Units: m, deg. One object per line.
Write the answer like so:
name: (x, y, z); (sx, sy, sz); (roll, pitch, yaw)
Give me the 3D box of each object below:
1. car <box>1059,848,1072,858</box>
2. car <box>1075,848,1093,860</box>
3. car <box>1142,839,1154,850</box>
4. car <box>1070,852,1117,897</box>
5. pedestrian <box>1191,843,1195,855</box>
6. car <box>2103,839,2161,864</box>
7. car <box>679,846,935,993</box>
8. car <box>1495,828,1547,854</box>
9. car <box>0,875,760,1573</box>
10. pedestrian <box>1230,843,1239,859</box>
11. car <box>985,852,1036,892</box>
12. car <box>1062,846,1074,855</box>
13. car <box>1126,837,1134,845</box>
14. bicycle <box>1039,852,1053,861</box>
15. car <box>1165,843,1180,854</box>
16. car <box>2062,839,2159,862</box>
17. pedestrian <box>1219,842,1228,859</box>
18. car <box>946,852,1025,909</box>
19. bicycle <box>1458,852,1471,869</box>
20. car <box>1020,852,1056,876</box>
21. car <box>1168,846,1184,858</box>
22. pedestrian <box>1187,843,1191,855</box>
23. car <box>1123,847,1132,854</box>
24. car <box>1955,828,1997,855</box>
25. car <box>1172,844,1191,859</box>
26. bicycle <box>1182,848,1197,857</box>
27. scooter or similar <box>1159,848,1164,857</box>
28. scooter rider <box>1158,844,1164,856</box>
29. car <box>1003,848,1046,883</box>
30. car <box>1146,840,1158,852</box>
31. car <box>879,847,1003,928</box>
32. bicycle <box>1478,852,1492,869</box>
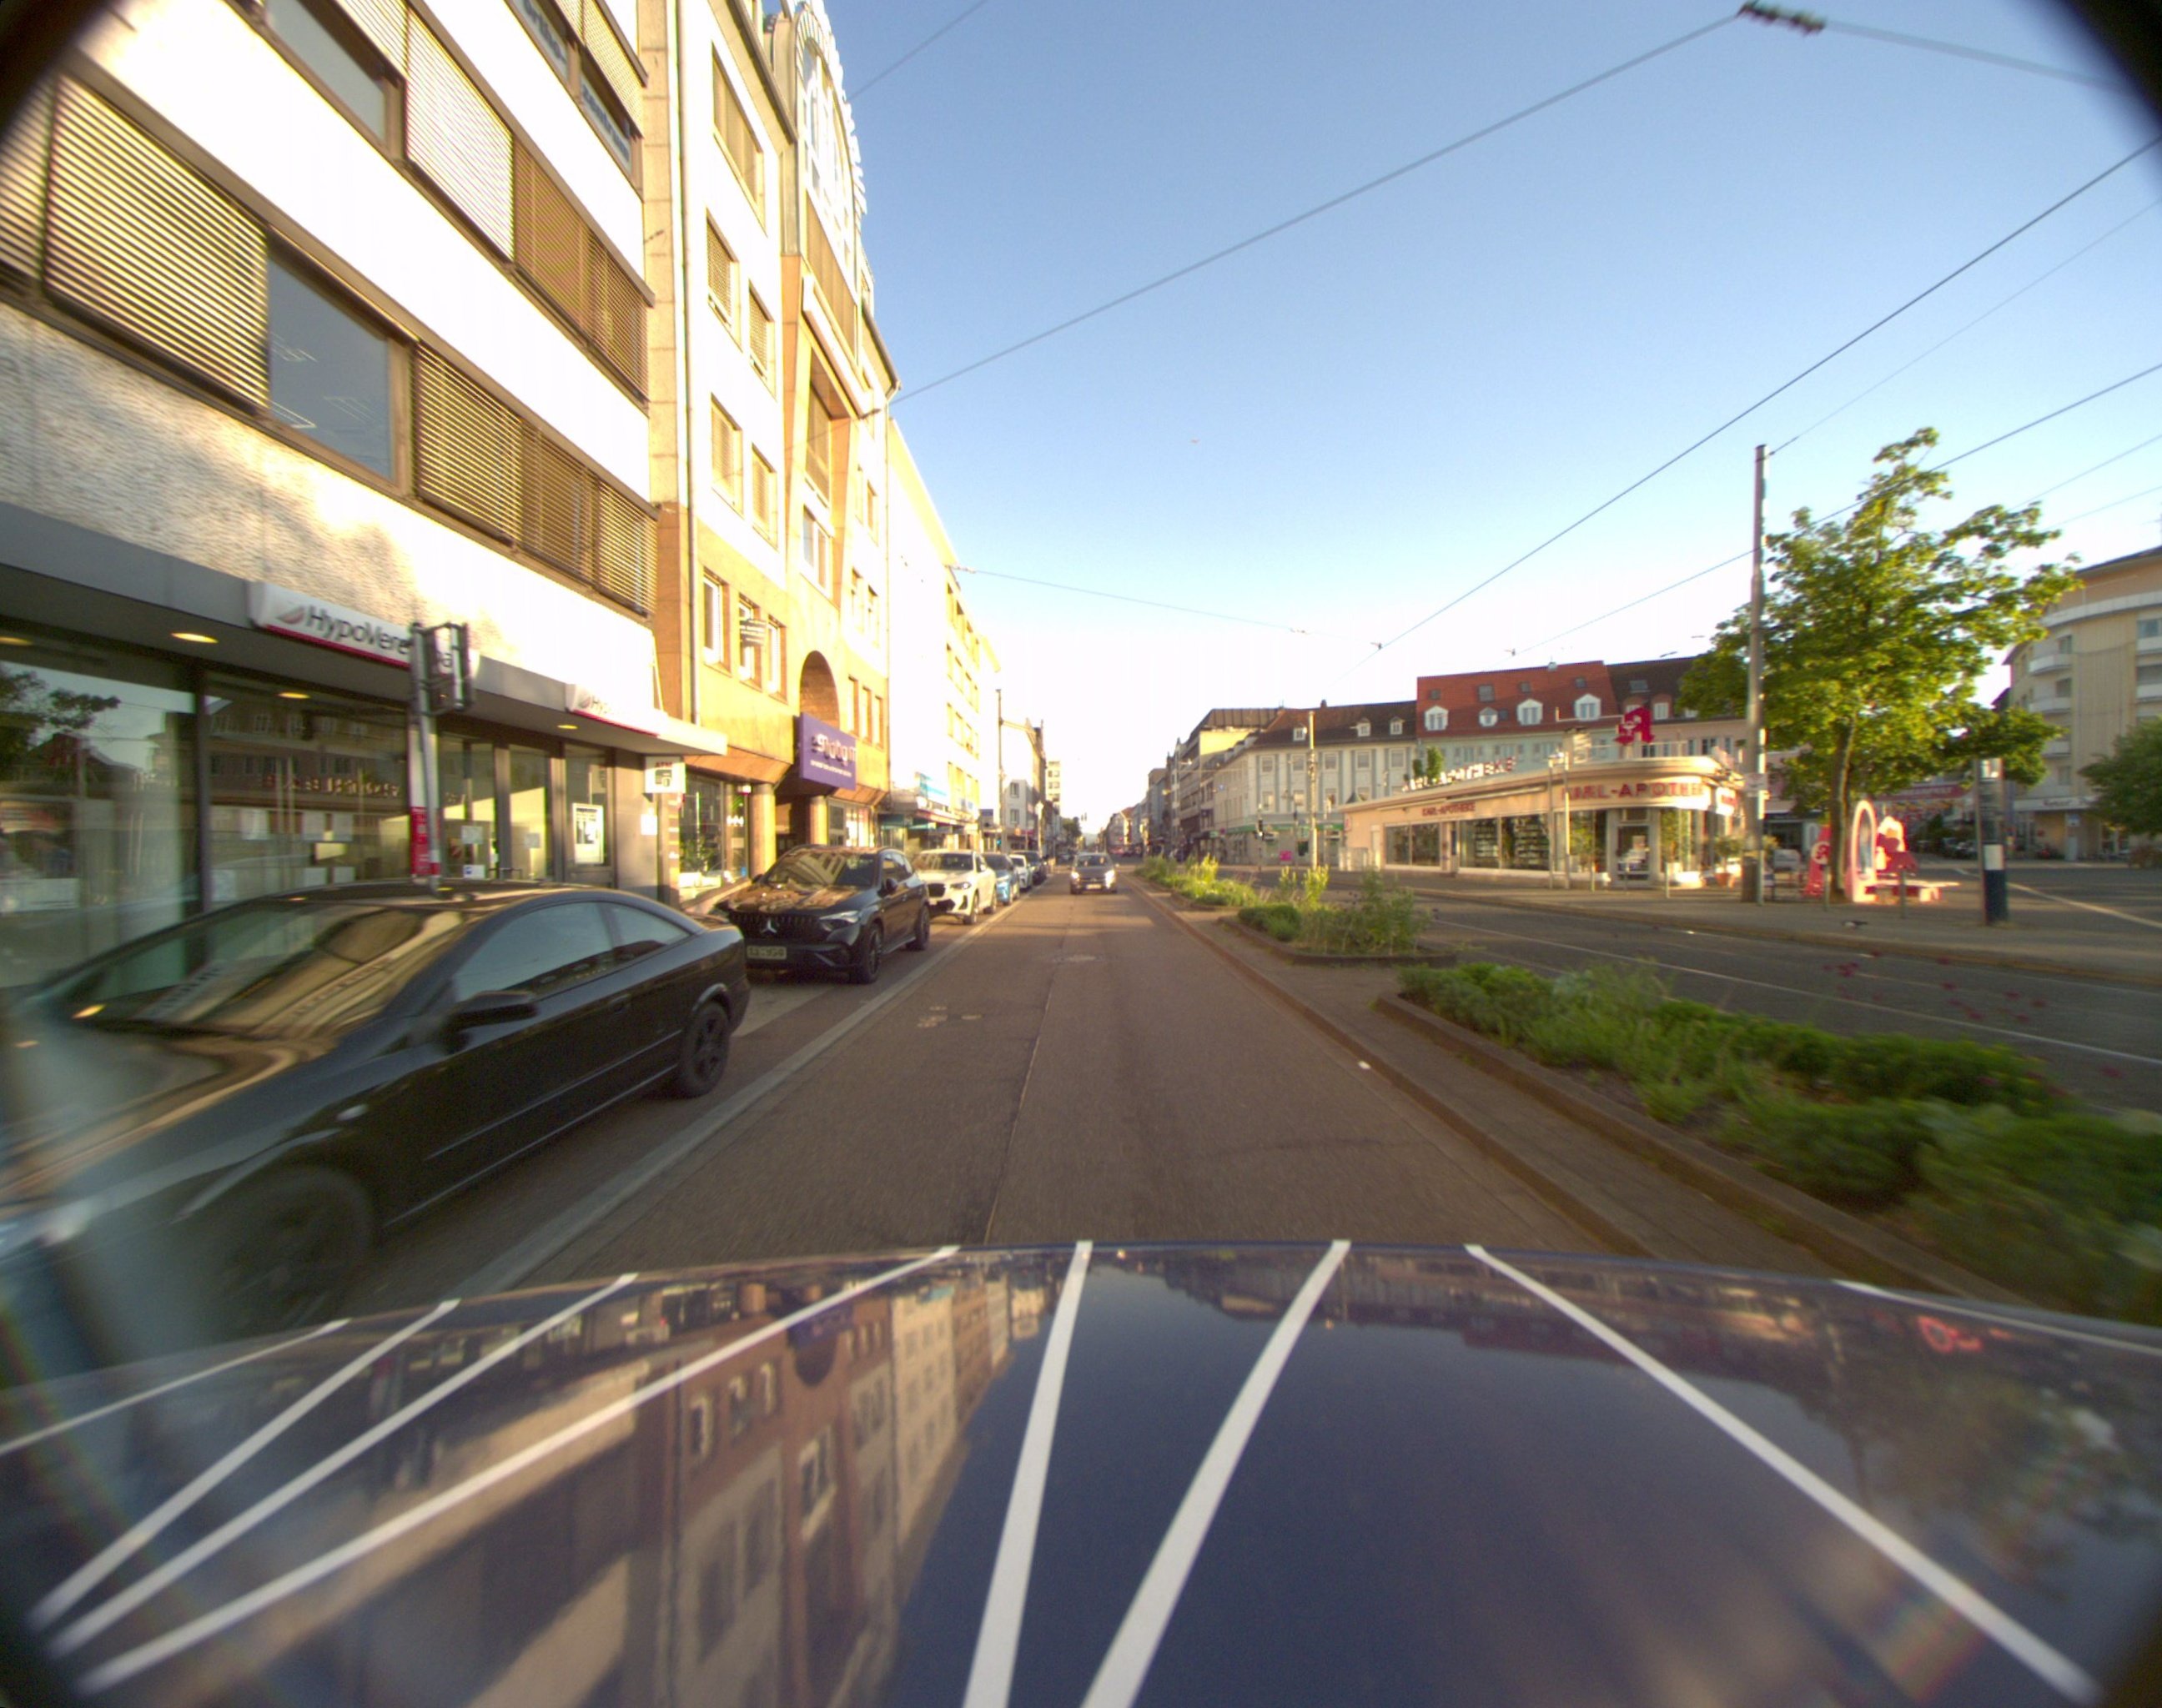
car: (-2.590, -0.118, 124.851); (2.041, 1.550, 4.386); (0, 1, 0)
car: (0.375, -0.044, 92.926); (1.914, 1.350, 3.747); (-2, 0, 4)
car: (13.223, -1.973, 150.056); (1.998, 2.048, 3.999); (0, 2, 1)
car: (0.438, 0.693, 27.634); (1.587, 1.445, 3.842); (0, 1, 0)
pedestrian: (16.522, -0.753, 111.803); (0.515, 1.725, 0.600); (0, 3, 0)
car: (63.844, -0.139, 45.150); (3.343, 1.459, 1.552); (1, 2, 24)
car: (-3.320, 0.718, 10.282); (1.780, 1.529, 4.578); (0, -1, 0)
car: (36.254, -1.112, 62.679); (1.998, 2.003, 3.998); (0, 2, 1)
car: (-3.250, 0.904, 3.427); (1.659, 1.372, 4.340); (3, 1, 1)
pedestrian: (15.879, -0.305, 78.431); (0.826, 1.631, 0.814); (-1, 3, 17)
car: (-2.849, 0.696, 31.491); (1.735, 1.427, 4.150); (0, 2, -1)
car: (-2.360, -0.598, 136.624); (2.041, 1.550, 4.386); (0, 1, 0)
car: (14.508, -3.815, 224.804); (1.975, 2.181, 4.132); (0, 2, 0)
bicycle: (-4.554, 0.325, 99.207); (1.829, 1.025, 0.443); (1, 1, -5)
car: (14.167, -0.845, 117.610); (1.819, 1.548, 3.998); (0, 2, 1)
car: (65.797, -0.216, 48.606); (3.343, 1.475, 1.552); (0, 0, 24)
pedestrian: (14.908, -0.343, 79.407); (0.826, 1.718, 0.814); (-2, 1, 15)
car: (-2.854, 0.739, 23.687); (1.814, 1.543, 4.835); (-1, 1, 0)
bicycle: (24.508, 0.373, 48.531); (0.558, 1.038, 2.030); (1, 1, 32)
car: (-2.513, 0.569, 45.239); (1.677, 1.275, 4.063); (0, 1, 3)
car: (13.622, -0.309, 109.171); (1.701, 1.614, 3.999); (-1, 0, 0)
pedestrian: (15.960, -0.730, 111.881); (0.509, 1.675, 0.583); (-1, 3, 0)
car: (10.852, -0.819, 178.985); (1.895, 1.471, 4.544); (2, -1, 1)
car: (70.585, -1.033, 59.965); (4.007, 2.003, 1.994); (-3, 3, -42)
car: (13.616, -0.370, 102.984); (1.915, 1.785, 4.128); (-2, 1, 0)
bicycle: (12.963, -0.126, 90.498); (1.740, 1.052, 0.499); (0, 0, 9)
scooter or similar: (12.215, -0.179, 115.458); (0.545, 1.343, 1.669); (-1, 1, 0)
scooter rider: (12.186, -0.676, 115.473); (0.813, 1.797, 0.788); (0, 1, 0)
car: (-2.708, 0.522, 37.176); (1.769, 1.596, 4.287); (-1, 1, 0)
car: (13.316, -1.537, 143.336); (1.998, 2.003, 3.998); (0, 2, 1)
car: (-3.039, 0.654, 17.566); (1.821, 1.576, 4.723); (-1, 1, 2)
bicycle: (25.549, 0.390, 48.033); (0.558, 1.037, 2.158); (1, 1, 32)
